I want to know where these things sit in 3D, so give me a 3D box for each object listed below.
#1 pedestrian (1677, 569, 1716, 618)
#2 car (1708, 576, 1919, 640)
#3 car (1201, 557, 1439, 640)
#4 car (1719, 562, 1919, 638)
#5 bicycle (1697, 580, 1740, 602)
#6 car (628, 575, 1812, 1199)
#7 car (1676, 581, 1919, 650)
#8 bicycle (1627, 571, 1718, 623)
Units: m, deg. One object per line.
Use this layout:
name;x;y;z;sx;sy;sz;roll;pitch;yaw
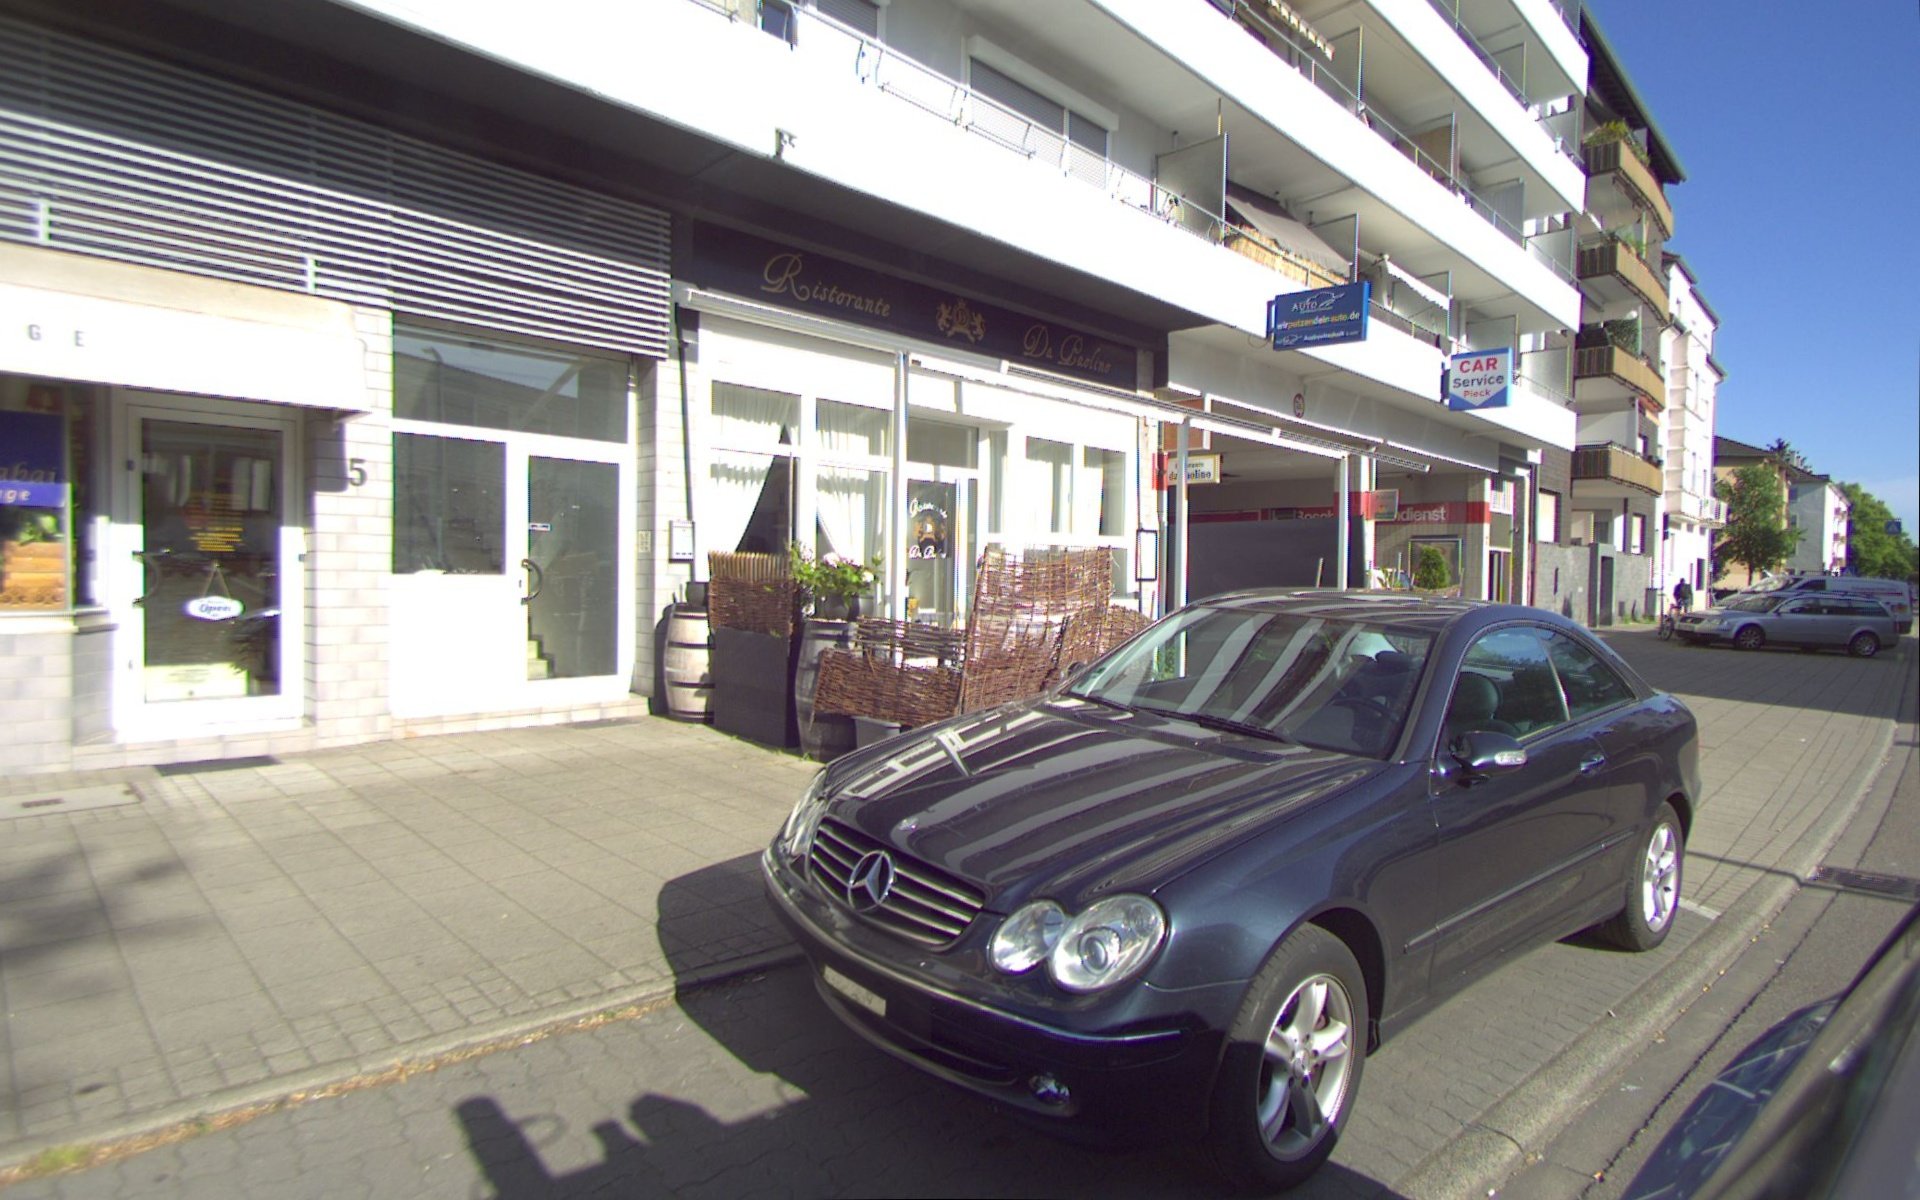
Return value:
pedestrian;24.917;-0.222;34.223;0.873;1.613;0.834;-1;3;-40
car;22.685;0.190;26.901;4.245;1.531;1.757;1;3;0
car;7.615;-0.120;21.678;4.393;1.531;1.948;4;4;45
car;25.215;-0.039;29.446;4.449;1.920;2.050;2;4;4
bicycle;45.002;-0.531;60.072;0.518;1.208;2.035;0;2;-23
car;1.451;0.657;4.031;4.912;1.468;1.976;-2;2;-38
car;20.160;0.348;24.304;4.561;1.483;1.691;1;3;3
bicycle;18.297;-0.080;25.989;2.214;1.270;0.708;1;0;-18
